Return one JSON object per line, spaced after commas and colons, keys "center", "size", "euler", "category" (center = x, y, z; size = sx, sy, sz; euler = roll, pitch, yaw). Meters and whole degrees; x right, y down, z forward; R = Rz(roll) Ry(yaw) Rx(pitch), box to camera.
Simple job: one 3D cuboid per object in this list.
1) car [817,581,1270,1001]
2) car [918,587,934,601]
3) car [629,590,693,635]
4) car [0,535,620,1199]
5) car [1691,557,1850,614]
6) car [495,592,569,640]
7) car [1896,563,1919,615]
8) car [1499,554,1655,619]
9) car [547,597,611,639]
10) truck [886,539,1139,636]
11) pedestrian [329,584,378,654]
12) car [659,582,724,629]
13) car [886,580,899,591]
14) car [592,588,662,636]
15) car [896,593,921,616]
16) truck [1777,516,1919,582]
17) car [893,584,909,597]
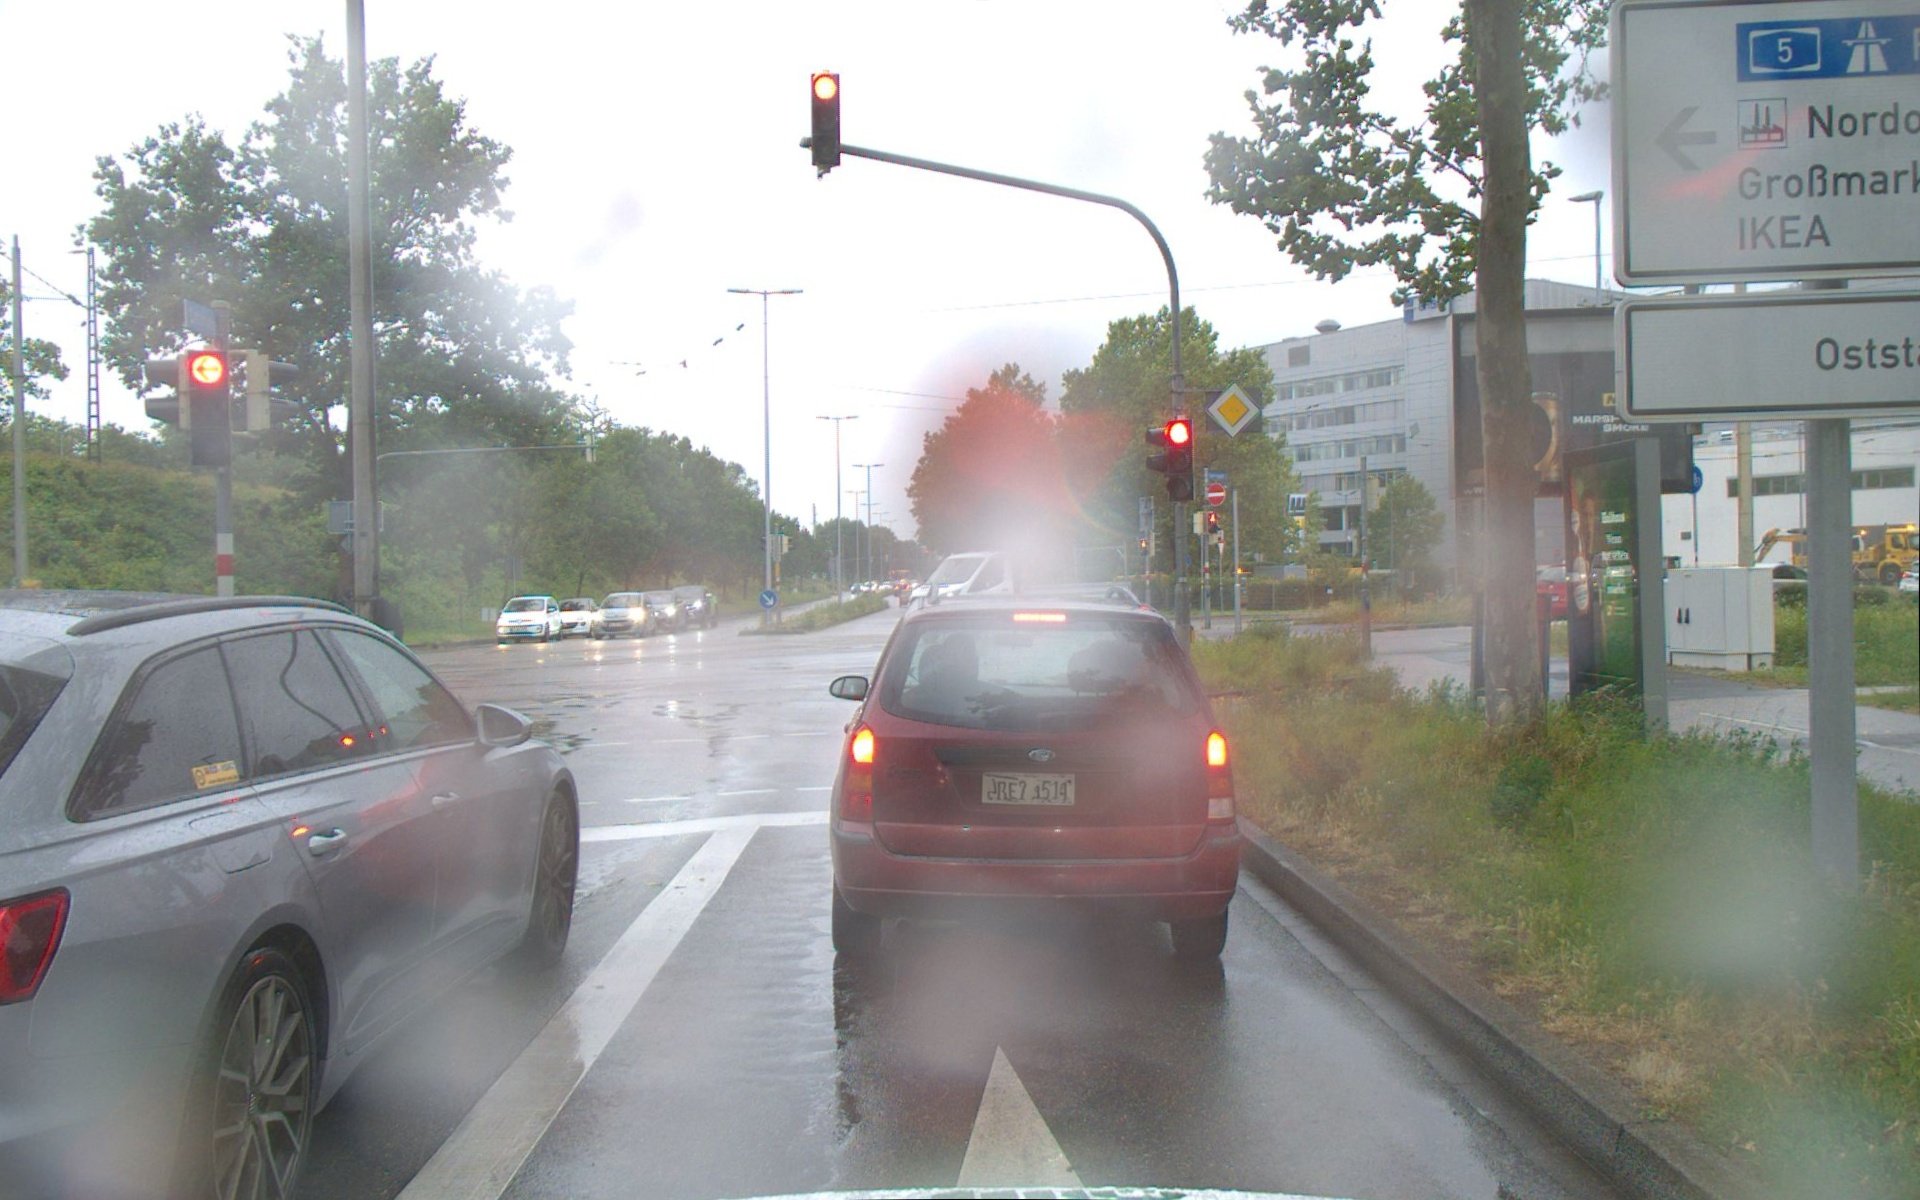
{"center": [0.249, 0.673, 7.806], "size": [1.609, 1.490, 3.731], "euler": [1, 0, -2], "category": "car"}
{"center": [-3.991, -0.713, 194.187], "size": [1.663, 1.554, 3.846], "euler": [-1, 0, 0], "category": "car"}
{"center": [-11.354, 0.467, 63.101], "size": [1.727, 1.614, 4.811], "euler": [-2, 0, -2], "category": "car"}
{"center": [-2.305, 0.667, 4.846], "size": [1.733, 1.601, 4.819], "euler": [1, 0, -2], "category": "car"}
{"center": [22.644, -0.414, 46.153], "size": [4.774, 1.517, 1.904], "euler": [-1, 0, -35], "category": "car"}
{"center": [-14.167, 0.496, 54.895], "size": [1.605, 1.478, 3.785], "euler": [-2, 1, -3], "category": "car"}
{"center": [32.034, -0.393, 52.976], "size": [4.575, 1.614, 1.902], "euler": [-1, 0, -37], "category": "car"}
{"center": [15.000, -0.323, 40.173], "size": [3.769, 1.517, 1.659], "euler": [0, 0, -33], "category": "car"}
{"center": [-14.067, 0.638, 61.222], "size": [1.558, 1.428, 3.822], "euler": [-2, 1, -2], "category": "car"}
{"center": [1.487, -0.374, 44.058], "size": [6.801, 2.406, 2.447], "euler": [-1, 0, -39], "category": "truck"}
{"center": [-16.655, 0.510, 45.446], "size": [1.083, 1.879, 1.127], "euler": [-1, 0, -13], "category": "pedestrian"}
{"center": [-11.533, 0.203, 71.297], "size": [2.024, 1.851, 5.539], "euler": [-2, 1, -2], "category": "car"}
{"center": [-9.977, -2.165, 244.912], "size": [1.663, 1.554, 3.846], "euler": [-1, 0, 1], "category": "car"}
{"center": [-11.231, 0.373, 55.984], "size": [1.605, 1.499, 3.964], "euler": [-2, 1, -1], "category": "car"}
{"center": [-4.266, 0.388, 136.700], "size": [1.953, 1.822, 3.998], "euler": [1, 0, -3], "category": "car"}
{"center": [52.803, -2.932, 97.366], "size": [3.291, 3.568, 7.789], "euler": [-2, 0, -36], "category": "truck"}
{"center": [-7.230, -1.185, 202.380], "size": [1.663, 1.554, 3.846], "euler": [-1, 0, 1], "category": "car"}
